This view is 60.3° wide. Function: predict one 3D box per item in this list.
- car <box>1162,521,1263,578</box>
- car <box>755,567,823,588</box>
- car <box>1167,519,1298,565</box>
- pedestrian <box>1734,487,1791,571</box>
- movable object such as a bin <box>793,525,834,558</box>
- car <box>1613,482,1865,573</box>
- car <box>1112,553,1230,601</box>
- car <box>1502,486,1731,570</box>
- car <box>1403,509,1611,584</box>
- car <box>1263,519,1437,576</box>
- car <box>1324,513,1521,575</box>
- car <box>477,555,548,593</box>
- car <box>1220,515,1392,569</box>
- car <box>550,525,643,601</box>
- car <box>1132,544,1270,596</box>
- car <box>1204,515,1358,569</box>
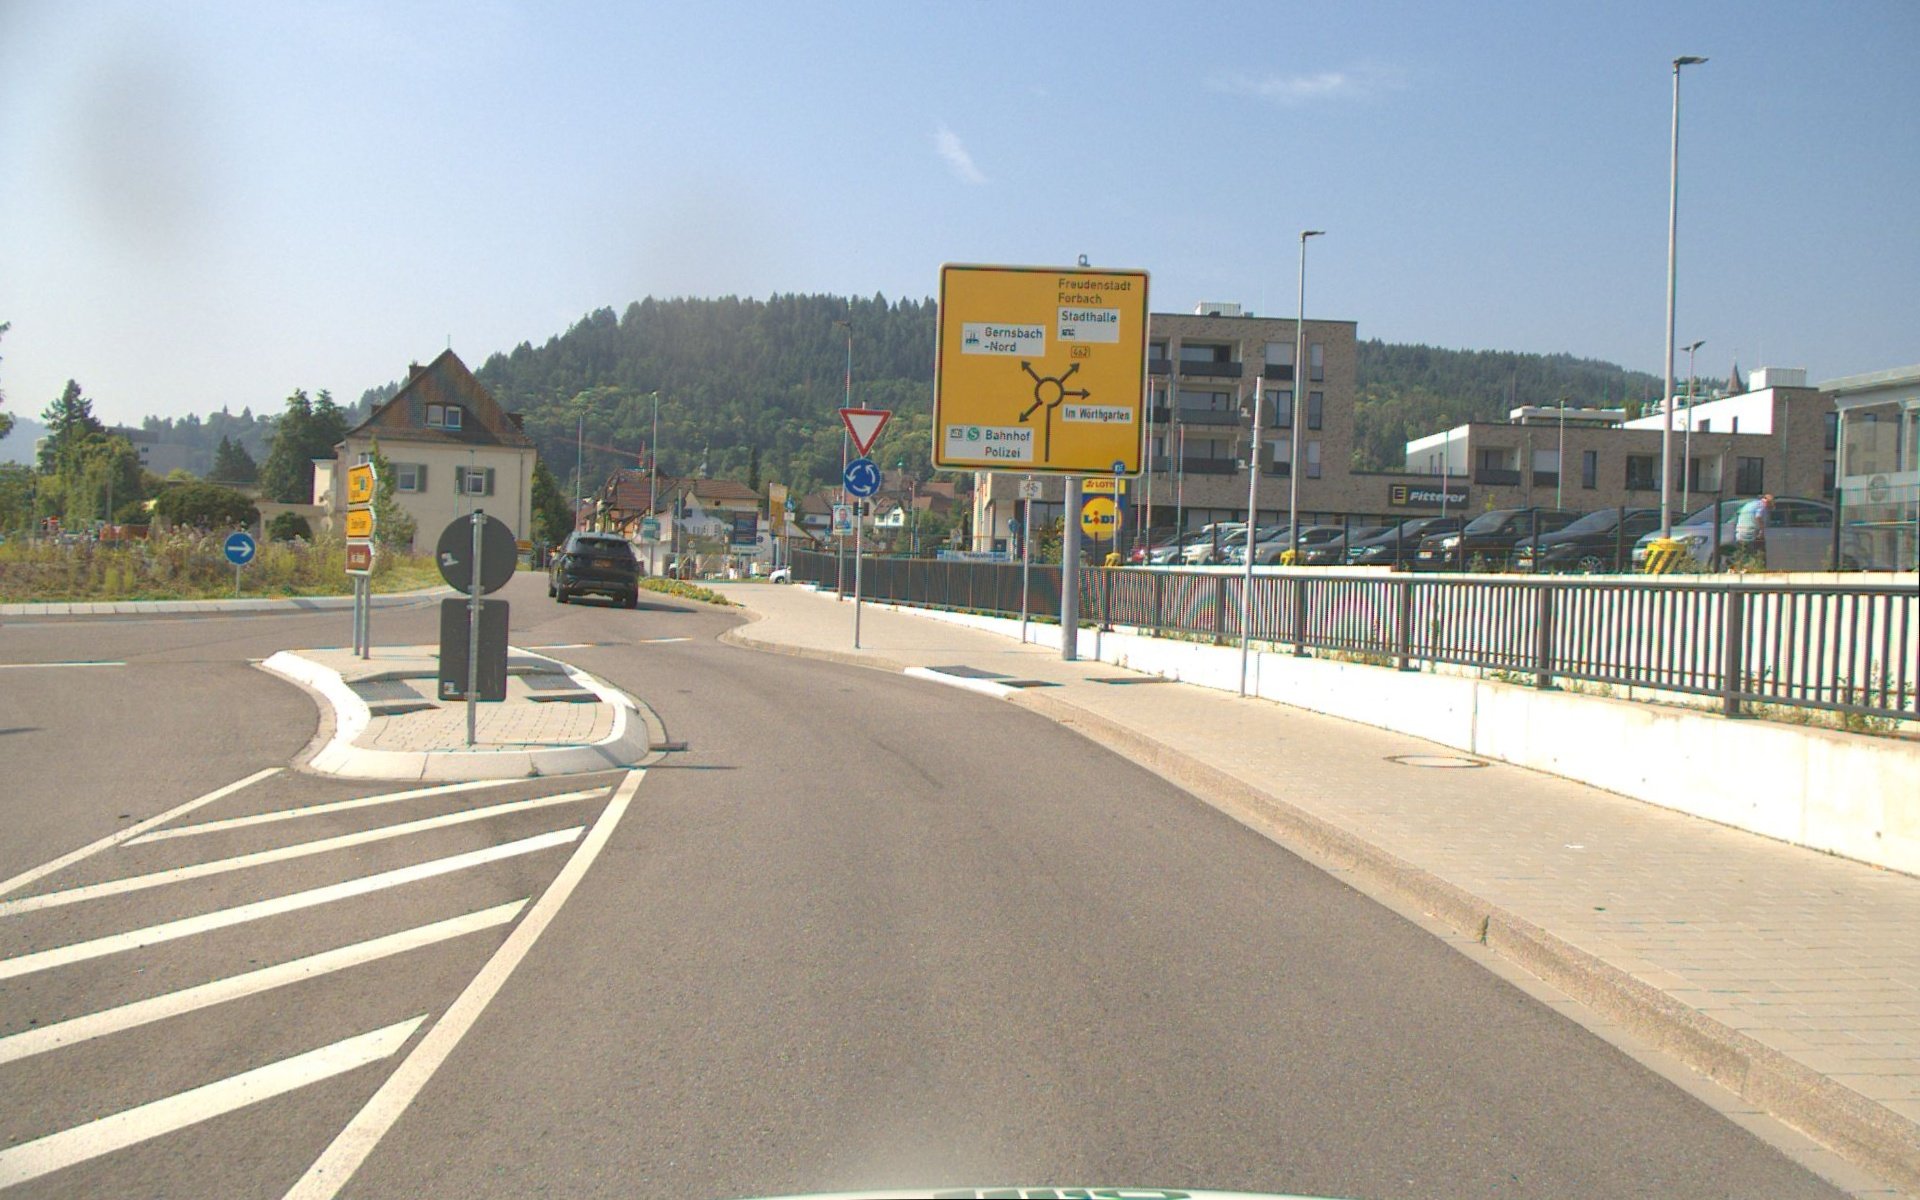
[{"bbox_3d":[9.996,-1.986,65.717,3.902,2.173,2.001,1,0,6],"label":"car"},{"bbox_3d":[-8.578,-1.138,83.021,3.205,0.981,1.348,1,0,27],"label":"car"},{"bbox_3d":[8.217,-1.745,49.952,3.496,1.220,1.708,2,1,-15],"label":"car"},{"bbox_3d":[13.223,-1.162,27.268,0.538,1.335,0.654,1,0,-13],"label":"pedestrian"},{"bbox_3d":[-8.698,-3.481,97.980,2.396,1.876,1.427,1,0,-6],"label":"movable object such as a bin"},{"bbox_3d":[13.466,-1.229,28.644,3.742,1.388,1.674,2,1,-15],"label":"car"},{"bbox_3d":[7.034,-0.770,55.262,3.496,1.455,1.704,2,1,-15],"label":"car"},{"bbox_3d":[12.646,-1.364,31.884,3.994,1.428,1.480,2,1,-15],"label":"car"},{"bbox_3d":[11.710,-1.139,35.481,3.939,1.428,1.718,2,1,-15],"label":"car"},{"bbox_3d":[9.791,-1.305,41.592,3.901,1.267,1.723,2,1,-15],"label":"car"},{"bbox_3d":[10.837,-1.307,38.800,4.143,1.267,1.737,2,1,-15],"label":"car"},{"bbox_3d":[-25.525,-1.470,94.552,1.952,2.049,4.001,1,0,20],"label":"car"},{"bbox_3d":[9.262,-1.533,44.315,4.208,1.267,1.658,2,1,-15],"label":"car"},{"bbox_3d":[-8.749,-0.858,39.620,1.851,1.713,3.981,1,0,-17],"label":"car"},{"bbox_3d":[7.675,-0.960,52.684,3.985,1.513,1.712,2,1,-13],"label":"car"},{"bbox_3d":[9.119,-1.639,47.013,3.969,1.365,1.654,2,1,-15],"label":"car"}]
